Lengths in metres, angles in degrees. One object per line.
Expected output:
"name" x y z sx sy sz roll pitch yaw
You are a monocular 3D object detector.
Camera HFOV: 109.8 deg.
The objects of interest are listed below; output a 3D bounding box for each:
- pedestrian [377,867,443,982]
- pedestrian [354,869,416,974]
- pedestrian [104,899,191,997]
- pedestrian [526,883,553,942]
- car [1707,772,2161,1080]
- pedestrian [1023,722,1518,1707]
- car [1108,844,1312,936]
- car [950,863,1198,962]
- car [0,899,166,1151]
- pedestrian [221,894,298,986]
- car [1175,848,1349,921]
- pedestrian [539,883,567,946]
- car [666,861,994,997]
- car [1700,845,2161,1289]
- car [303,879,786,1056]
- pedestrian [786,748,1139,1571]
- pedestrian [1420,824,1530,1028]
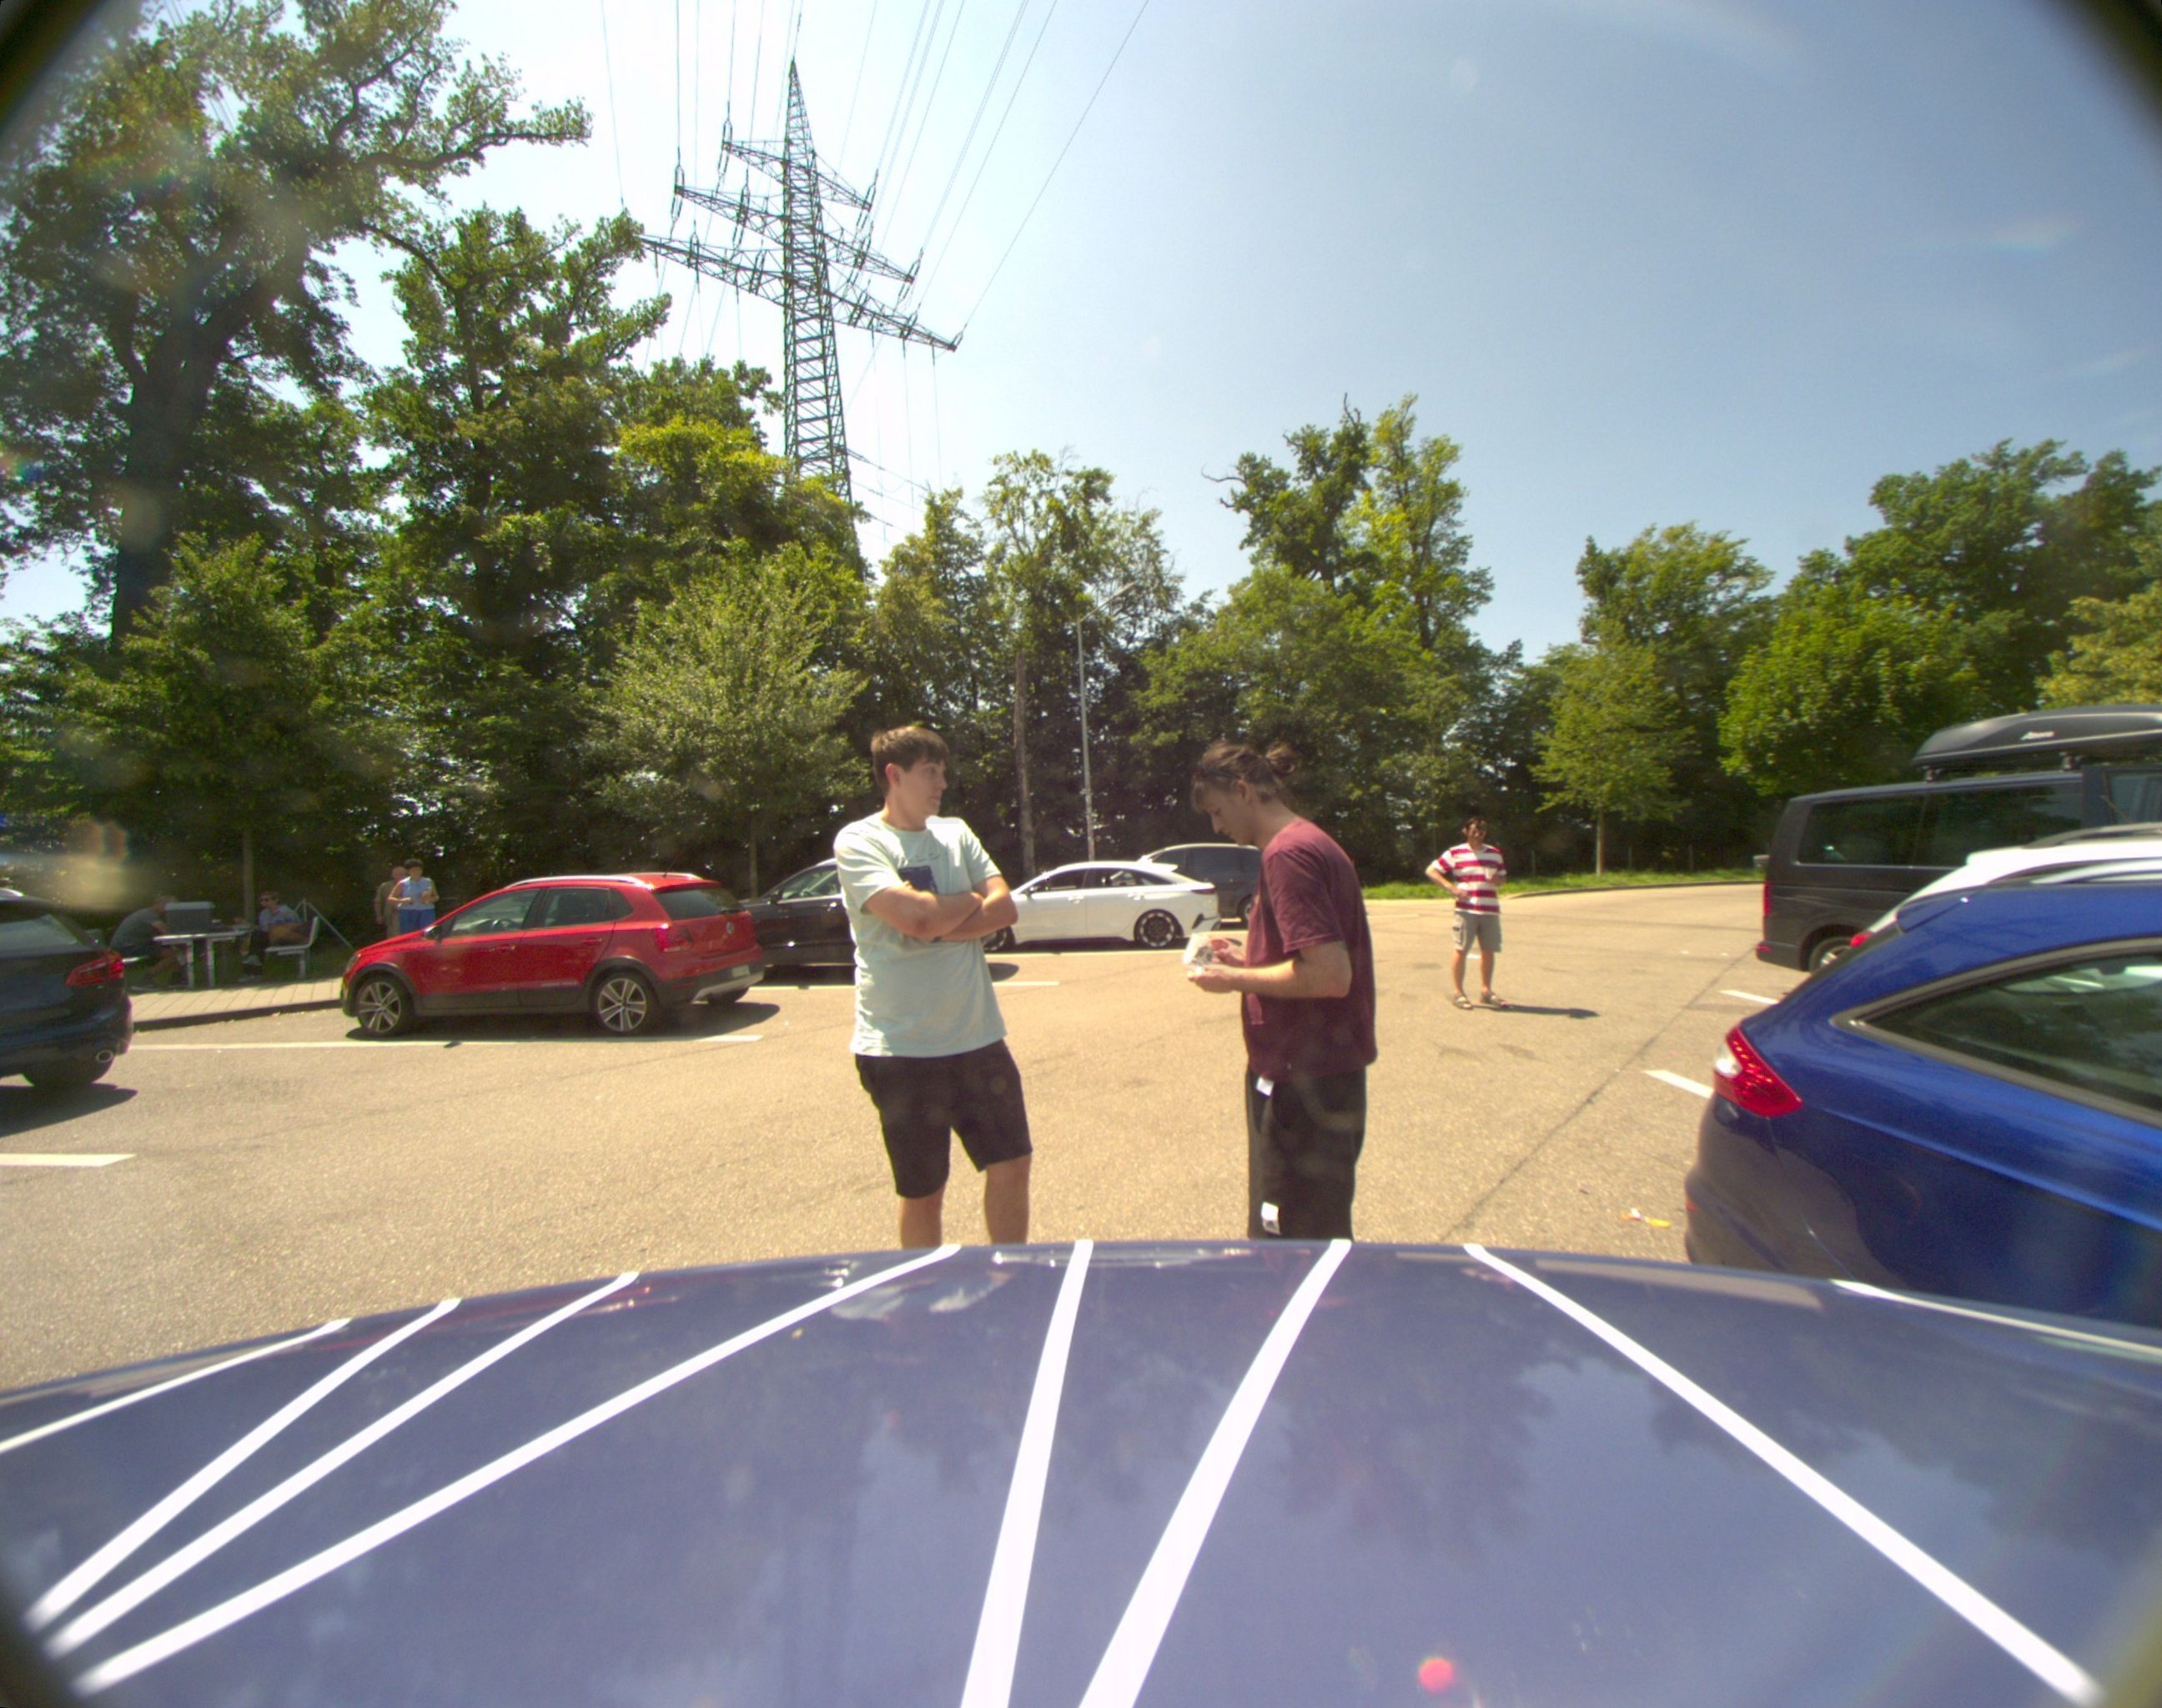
"pedestrian" -9.907 1.012 11.218 0.648 1.596 0.571 -3 2 -43
"pedestrian" -11.101 1.047 12.134 0.648 1.596 0.571 -3 2 -43
"pedestrian" -12.730 1.260 10.379 0.595 1.238 0.446 -3 1 -33
"pedestrian" -11.010 1.177 15.445 0.357 1.158 0.384 -3 2 -41
"car" 7.373 0.412 5.289 1.758 1.886 4.571 -3 -1 -9
"pedestrian" 0.466 0.711 1.935 0.919 1.894 0.815 -2 1 16
"car" 2.606 0.704 15.462 3.822 1.686 1.652 -2 1 12
"car" -0.076 0.926 12.680 3.825 1.394 1.651 -2 1 4
"car" -9.034 1.164 5.011 4.338 1.544 1.749 -1 1 8
"pedestrian" -11.863 1.220 10.993 0.595 1.238 0.499 -3 1 -33
"car" 4.265 0.701 18.157 3.822 1.551 1.652 -2 1 12
"pedestrian" -10.165 1.154 14.630 0.357 1.158 0.384 -3 2 -41
"car" -3.251 0.955 10.305 3.825 1.546 1.651 -2 1 4
"car" 4.644 0.726 2.258 1.757 1.496 4.574 -3 -1 -1
"car" -5.233 1.083 7.676 3.823 1.460 1.651 -2 1 8
"pedestrian" -0.419 0.708 2.345 0.815 1.939 0.919 -3 1 -20
"pedestrian" 3.581 0.619 6.968 0.753 1.744 0.786 -2 1 19
